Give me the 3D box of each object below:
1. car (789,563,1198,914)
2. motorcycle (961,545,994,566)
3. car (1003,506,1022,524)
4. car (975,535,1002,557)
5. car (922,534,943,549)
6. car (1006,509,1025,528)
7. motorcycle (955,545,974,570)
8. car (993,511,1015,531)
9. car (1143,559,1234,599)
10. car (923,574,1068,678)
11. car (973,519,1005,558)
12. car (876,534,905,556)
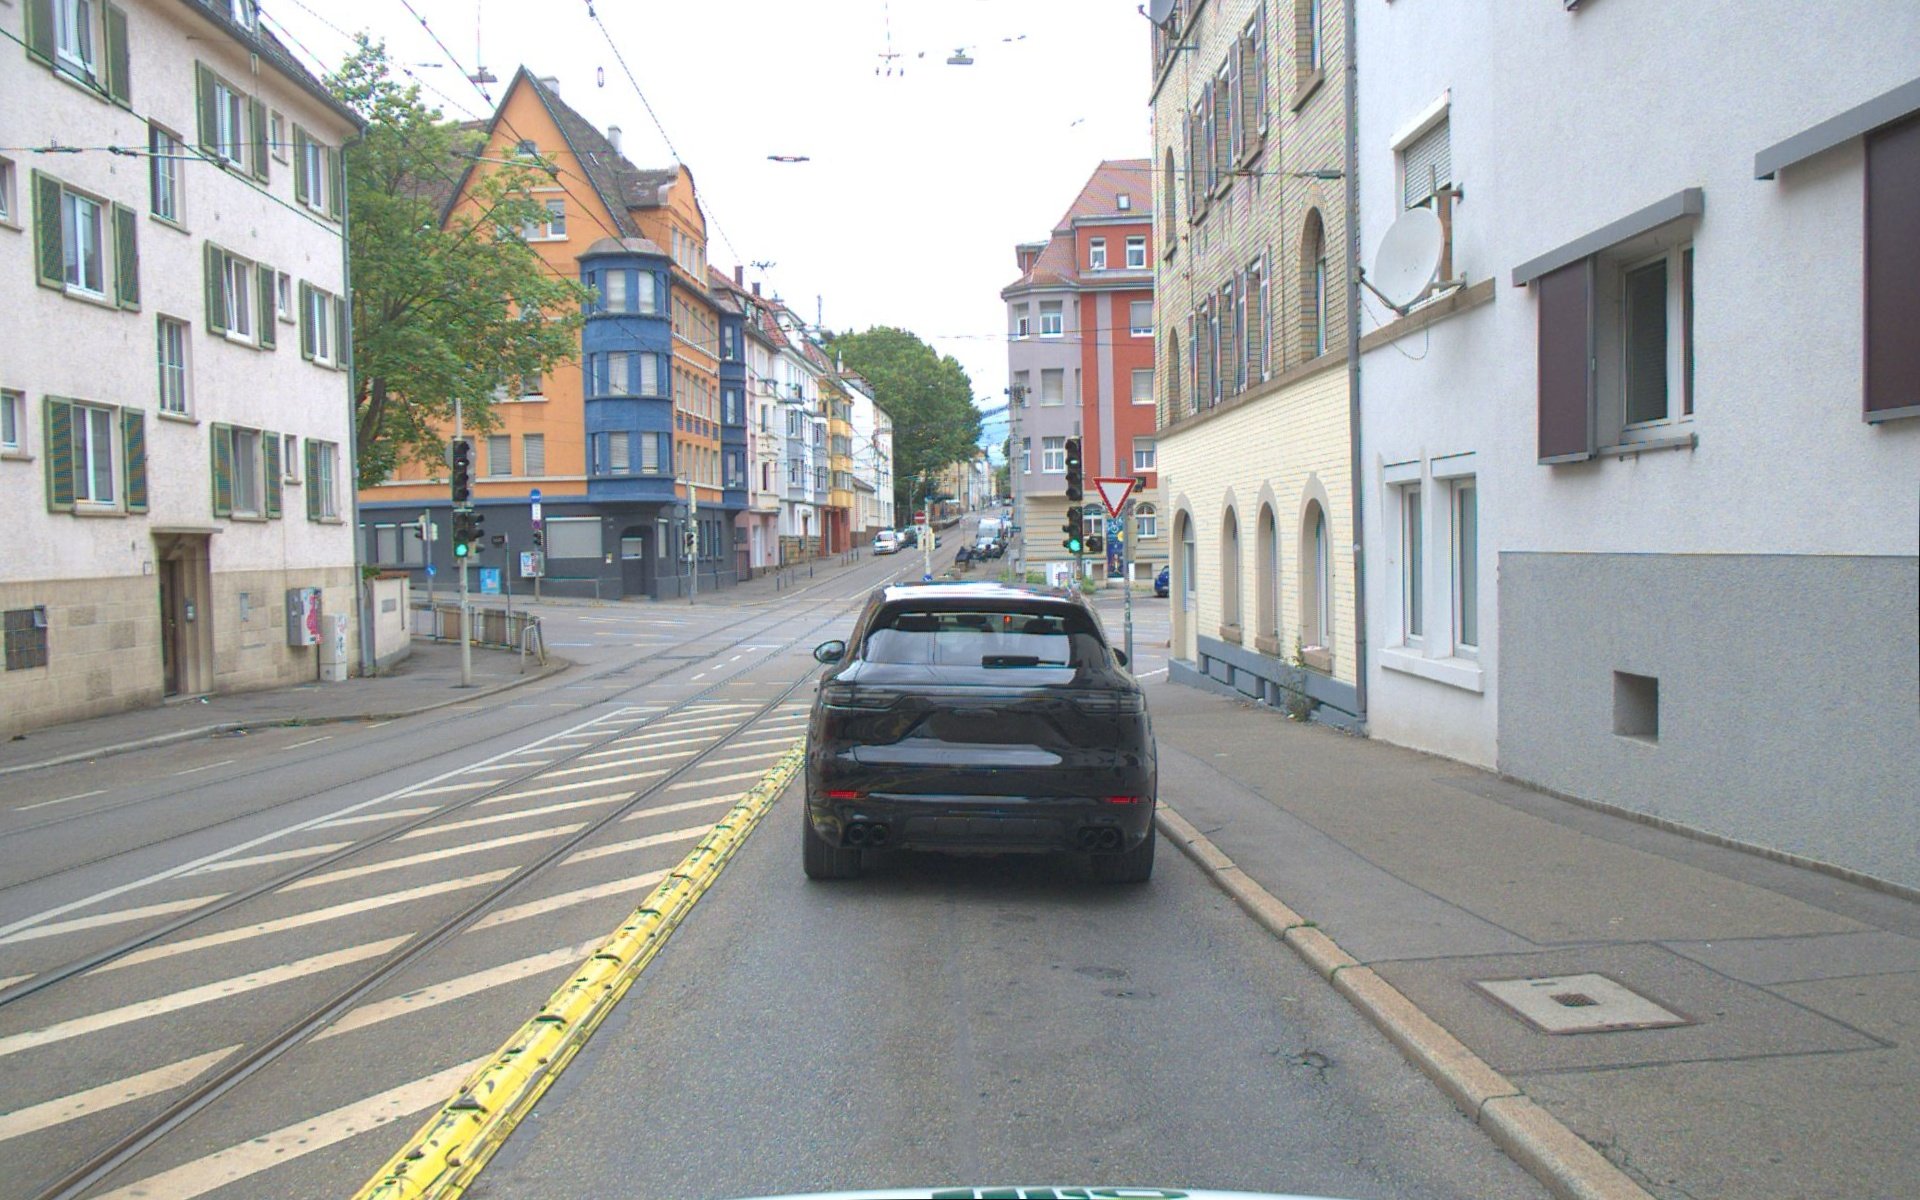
[{"bbox_3d":[0.287,0.639,10.378,1.982,1.670,4.358,2,1,3],"label":"car"},{"bbox_3d":[1.151,-3.009,110.881,2.135,1.349,0.699,1,2,-7],"label":"motorcycle"},{"bbox_3d":[6.749,-10.788,210.843,2.220,2.221,4.773,1,3,4],"label":"car"},{"bbox_3d":[2.139,-4.076,124.126,1.801,1.596,3.822,1,3,4],"label":"car"},{"bbox_3d":[-2.561,-5.450,153.006,1.651,1.349,3.665,1,3,4],"label":"car"},{"bbox_3d":[6.914,-10.058,204.824,2.220,2.221,4.773,1,3,4],"label":"car"},{"bbox_3d":[0.254,-2.574,100.346,0.843,1.349,2.182,-6,3,-6],"label":"motorcycle"},{"bbox_3d":[5.097,-9.111,190.834,2.220,2.221,4.773,1,3,4],"label":"car"},{"bbox_3d":[10.344,-0.971,74.760,4.107,1.561,1.889,-4,5,-42],"label":"car"},{"bbox_3d":[0.805,0.482,33.774,1.826,1.916,4.288,2,1,17],"label":"car"},{"bbox_3d":[2.261,-4.827,129.654,2.220,2.940,4.773,1,2,4],"label":"car"},{"bbox_3d":[-5.671,-4.517,135.826,1.952,1.721,4.003,1,3,4],"label":"car"}]
